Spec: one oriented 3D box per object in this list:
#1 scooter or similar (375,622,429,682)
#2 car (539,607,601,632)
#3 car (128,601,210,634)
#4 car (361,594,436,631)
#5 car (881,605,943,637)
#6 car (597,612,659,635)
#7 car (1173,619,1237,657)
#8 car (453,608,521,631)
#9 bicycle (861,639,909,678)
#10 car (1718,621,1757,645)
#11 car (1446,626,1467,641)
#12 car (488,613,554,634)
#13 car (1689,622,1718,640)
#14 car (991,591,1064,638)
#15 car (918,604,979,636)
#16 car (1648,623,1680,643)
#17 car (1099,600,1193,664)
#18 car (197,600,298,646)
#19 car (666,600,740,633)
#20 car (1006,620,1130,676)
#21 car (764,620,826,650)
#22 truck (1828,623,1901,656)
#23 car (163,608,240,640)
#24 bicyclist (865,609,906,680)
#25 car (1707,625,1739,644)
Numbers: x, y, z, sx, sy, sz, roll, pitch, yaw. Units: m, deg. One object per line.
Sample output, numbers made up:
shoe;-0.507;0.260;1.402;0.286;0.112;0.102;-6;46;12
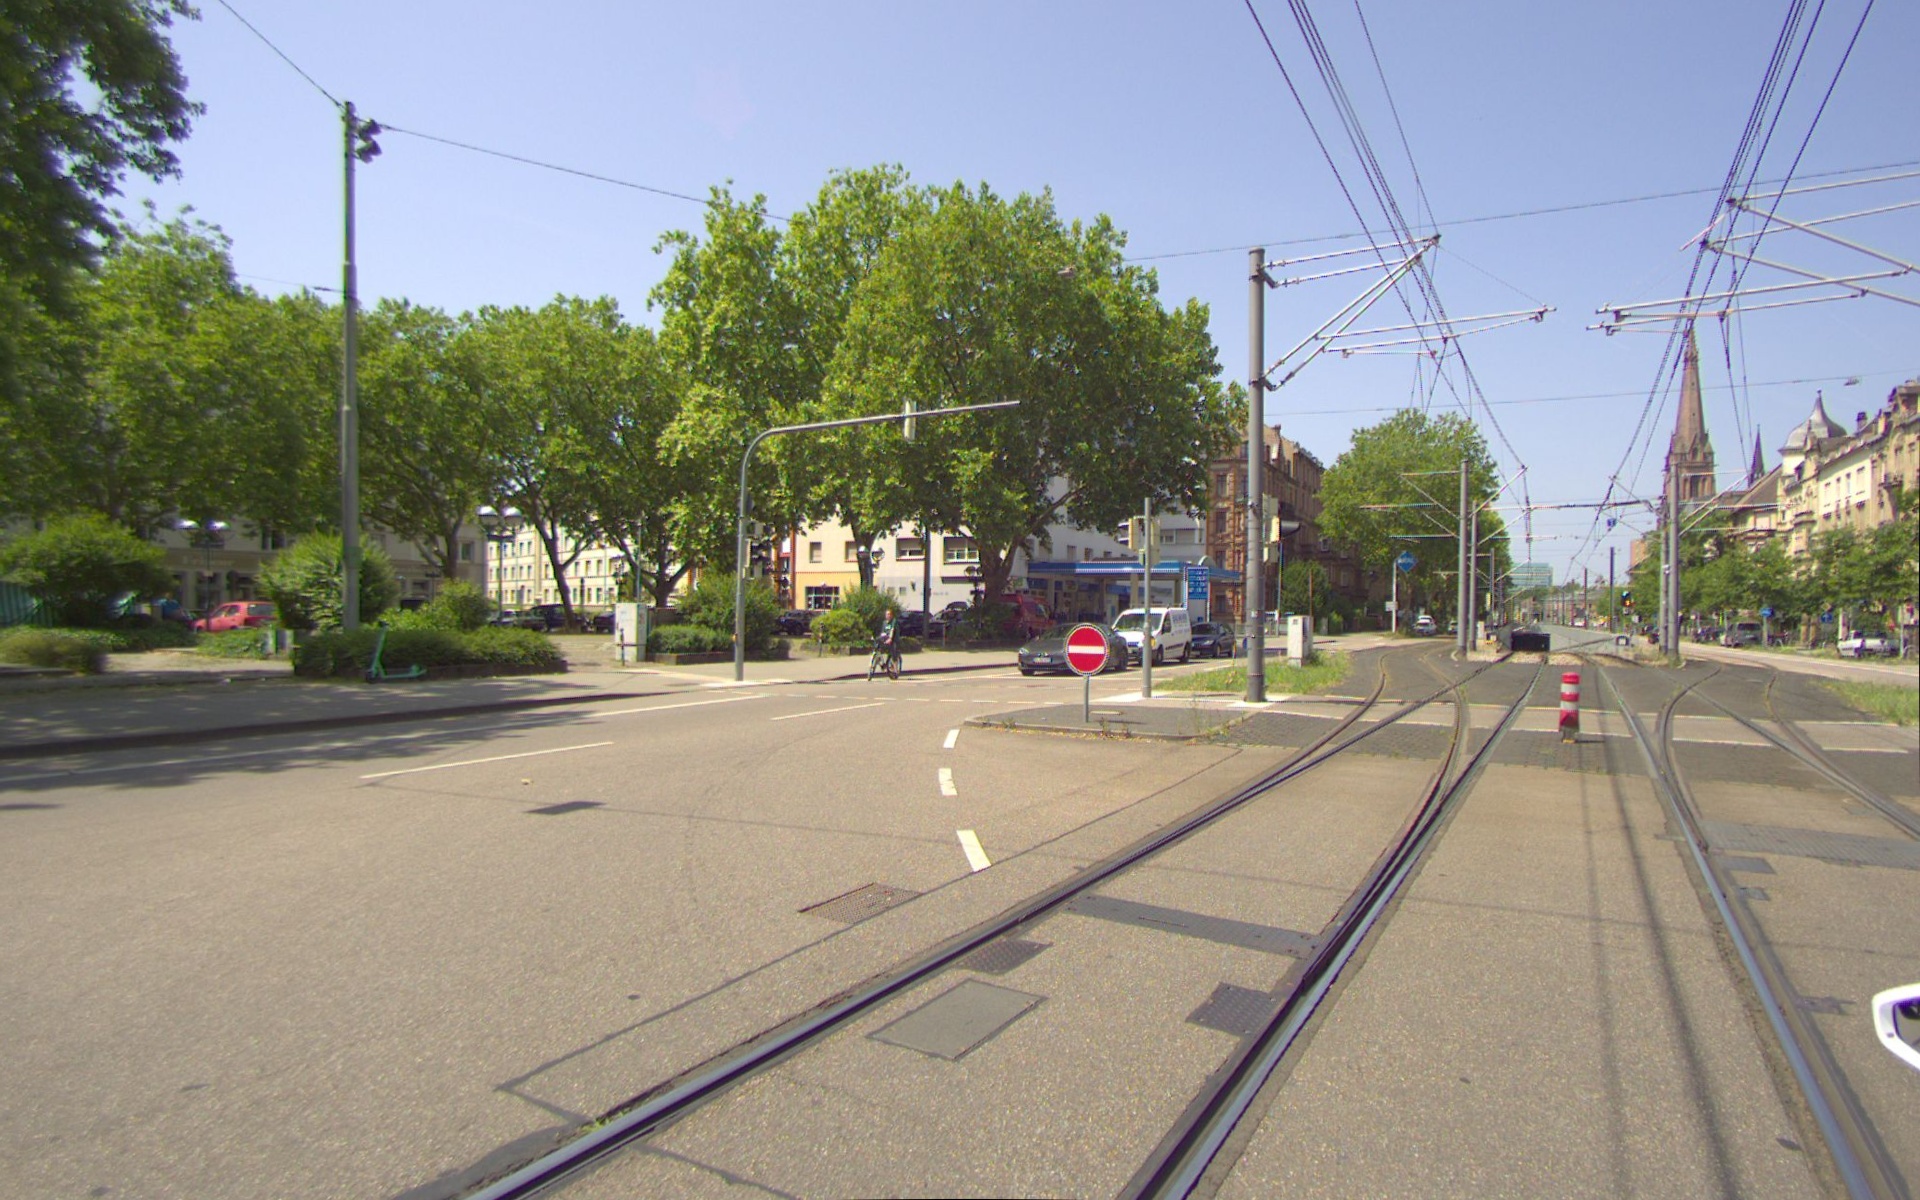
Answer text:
scooter or similar;-10.788;0.998;19.433;0.253;1.135;0.856;2;0;42
car;-25.406;1.267;65.398;3.780;1.507;1.732;1;0;28
car;-28.823;0.624;36.594;2.688;1.112;1.356;2;0;28
car;-32.168;0.698;57.557;3.932;1.975;2.160;2;0;34
car;-2.685;1.174;57.129;1.558;1.715;3.917;0;-1;31
car;-22.496;1.552;68.132;1.887;1.507;3.847;1;0;25
car;9.936;1.495;40.567;1.573;1.439;3.775;-1;-1;29
car;-29.275;1.218;62.137;3.779;1.272;1.920;2;0;28
bicycle;-1.851;1.430;25.015;0.488;0.894;1.481;2;0;27
car;57.911;2.443;74.908;1.724;1.728;3.752;2;0;29
car;56.809;3.781;114.806;1.820;1.647;4.593;-1;-1;30
car;-28.243;1.492;64.624;3.780;1.272;1.920;1;0;28
car;70.301;2.945;94.984;1.724;1.599;3.752;2;0;29
car;3.678;0.768;54.006;1.820;2.424;4.971;0;-1;31
car;-0.598;1.089;55.386;1.558;1.664;3.918;0;-1;30
car;58.506;2.746;83.532;1.724;1.559;3.752;2;0;29
car;6.394;1.040;34.077;1.750;2.017;4.797;1;0;28
car;-23.761;0.748;33.470;3.284;1.402;1.470;2;0;29
car;-16.575;1.048;65.068;1.887;2.017;5.104;1;0;25
car;3.166;1.296;28.517;1.918;1.377;4.621;1;0;28
car;-10.086;2.092;61.543;1.808;1.715;3.921;0;0;27
truck;45.523;1.984;50.659;1.763;1.546;4.458;-3;-3;29
car;-37.208;1.156;49.272;3.856;1.428;1.619;2;0;30
bicyclist;-1.840;1.101;24.988;0.628;1.708;0.868;2;0;26
car;68.345;3.053;90.023;1.724;1.599;3.752;2;0;29
